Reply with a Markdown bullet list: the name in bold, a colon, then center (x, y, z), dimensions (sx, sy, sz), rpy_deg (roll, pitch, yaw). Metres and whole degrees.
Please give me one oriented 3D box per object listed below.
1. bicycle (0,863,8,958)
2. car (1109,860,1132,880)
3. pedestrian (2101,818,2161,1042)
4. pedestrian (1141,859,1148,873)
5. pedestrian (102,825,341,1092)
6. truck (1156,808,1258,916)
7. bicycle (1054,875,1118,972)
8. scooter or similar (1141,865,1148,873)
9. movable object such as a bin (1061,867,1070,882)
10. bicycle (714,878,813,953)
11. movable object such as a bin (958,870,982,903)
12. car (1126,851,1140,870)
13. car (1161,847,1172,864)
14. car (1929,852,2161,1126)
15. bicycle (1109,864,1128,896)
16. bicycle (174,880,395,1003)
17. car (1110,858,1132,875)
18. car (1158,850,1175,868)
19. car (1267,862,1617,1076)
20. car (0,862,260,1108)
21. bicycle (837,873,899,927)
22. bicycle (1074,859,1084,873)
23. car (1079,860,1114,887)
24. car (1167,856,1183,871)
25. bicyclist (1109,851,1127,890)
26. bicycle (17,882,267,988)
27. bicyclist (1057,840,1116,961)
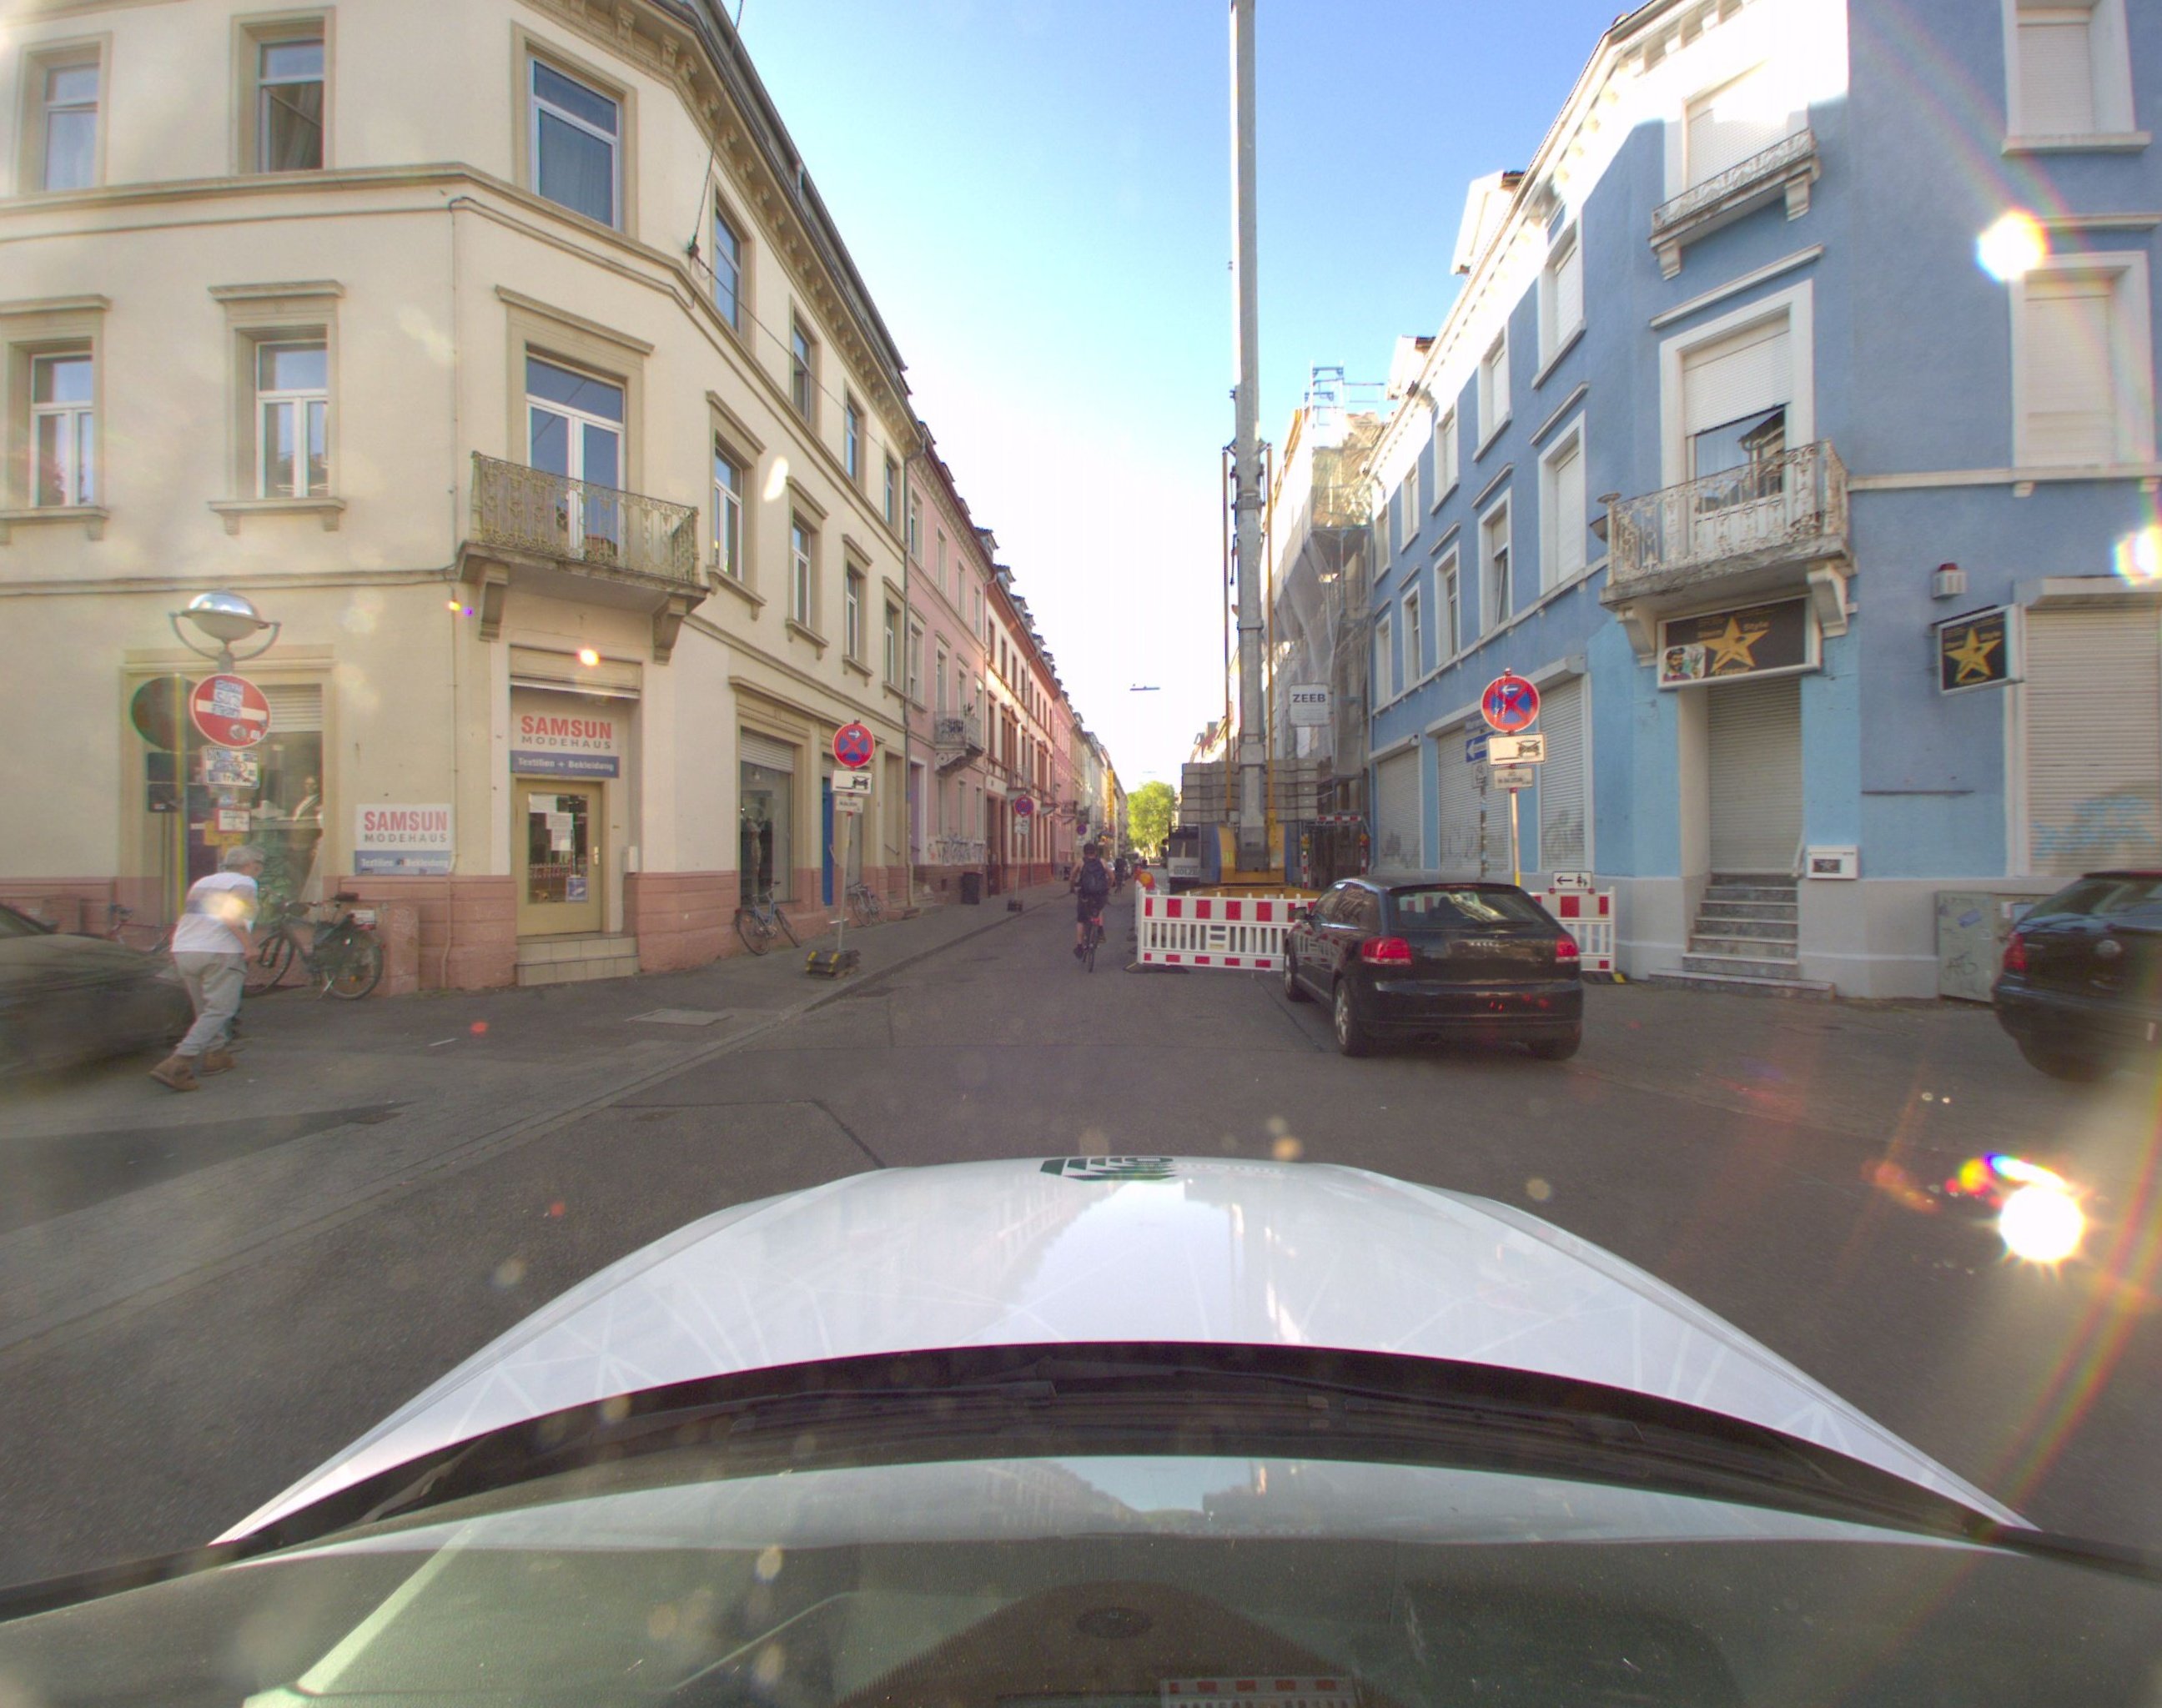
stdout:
- **bicycle**: center (-13.713, 0.651, 9.506), dimensions (1.909, 1.122, 0.614), rpy_deg (1, -1, 10)
- **car**: center (3.154, 1.230, 64.674), dimensions (1.664, 1.442, 4.170), rpy_deg (-2, -1, 5)
- **pedestrian**: center (9.336, 0.634, 6.755), dimensions (0.766, 1.849, 0.781), rpy_deg (1, -1, 4)
- **pedestrian**: center (7.083, 1.318, 90.869), dimensions (0.768, 1.578, 0.900), rpy_deg (1, -1, 1)
- **pedestrian**: center (-6.028, 0.672, 5.764), dimensions (0.690, 1.701, 0.866), rpy_deg (4, 2, 5)
- **truck**: center (3.705, 0.243, 25.385), dimensions (2.648, 2.814, 7.403), rpy_deg (1, -1, 5)
- **bicycle**: center (0.114, 0.938, 11.773), dimensions (0.698, 1.208, 2.345), rpy_deg (-2, -1, 5)
- **scooter or similar**: center (7.076, 1.660, 90.438), dimensions (0.768, 0.873, 0.771), rpy_deg (1, -1, 1)
- **movable object such as a bin**: center (-0.997, 1.324, 53.176), dimensions (0.541, 0.945, 0.488), rpy_deg (1, -1, 6)
- **bicycle**: center (-4.858, 0.909, 12.606), dimensions (0.600, 1.022, 1.820), rpy_deg (4, -1, 5)
- **movable object such as a bin**: center (-3.514, 1.029, 25.823), dimensions (0.603, 1.035, 0.597), rpy_deg (1, -1, 3)
- **car**: center (7.122, 0.839, 111.748), dimensions (1.901, 2.497, 4.168), rpy_deg (-1, 0, 3)
- **car**: center (20.486, 0.429, 195.407), dimensions (2.297, 3.768, 6.778), rpy_deg (-2, -1, 5)
- **car**: center (7.700, 0.722, 4.639), dimensions (3.849, 1.453, 1.679), rpy_deg (0, 0, 5)
- **bicycle**: center (1.572, 1.063, 34.120), dimensions (0.699, 1.208, 2.345), rpy_deg (-1, 1, 5)
- **bicycle**: center (-8.217, 0.866, 8.423), dimensions (1.909, 1.149, 0.614), rpy_deg (1, -1, 10)
- **car**: center (3.488, 1.076, 70.440), dimensions (1.664, 1.442, 3.773), rpy_deg (-2, -1, 5)
- **car**: center (12.841, 0.765, 122.501), dimensions (2.297, 2.538, 6.778), rpy_deg (-2, -1, 5)
- **car**: center (2.953, 0.811, 7.654), dimensions (1.763, 1.434, 4.038), rpy_deg (1, 0, 4)
- **car**: center (-8.538, 0.793, 5.570), dimensions (4.122, 1.455, 1.760), rpy_deg (0, 0, 2)
- **bicycle**: center (-4.471, 0.945, 17.200), dimensions (0.619, 1.022, 1.821), rpy_deg (3, 0, 5)
- **bicycle**: center (-0.173, 1.002, 66.588), dimensions (0.589, 1.089, 2.082), rpy_deg (1, -1, 5)
- **car**: center (0.940, 1.101, 47.286), dimensions (1.702, 1.383, 4.511), rpy_deg (-2, -1, 5)
- **car**: center (10.415, 1.066, 90.406), dimensions (1.613, 1.550, 4.005), rpy_deg (-2, -1, 5)
- **bicyclist**: center (1.555, 0.668, 34.130), dimensions (0.699, 1.605, 0.814), rpy_deg (-1, 0, 4)
- **bicycle**: center (-10.186, 0.864, 8.878), dimensions (1.916, 1.070, 0.612), rpy_deg (1, -1, -2)
- **bicyclist**: center (0.097, 0.636, 11.633), dimensions (0.698, 1.633, 1.091), rpy_deg (-2, -1, 5)
